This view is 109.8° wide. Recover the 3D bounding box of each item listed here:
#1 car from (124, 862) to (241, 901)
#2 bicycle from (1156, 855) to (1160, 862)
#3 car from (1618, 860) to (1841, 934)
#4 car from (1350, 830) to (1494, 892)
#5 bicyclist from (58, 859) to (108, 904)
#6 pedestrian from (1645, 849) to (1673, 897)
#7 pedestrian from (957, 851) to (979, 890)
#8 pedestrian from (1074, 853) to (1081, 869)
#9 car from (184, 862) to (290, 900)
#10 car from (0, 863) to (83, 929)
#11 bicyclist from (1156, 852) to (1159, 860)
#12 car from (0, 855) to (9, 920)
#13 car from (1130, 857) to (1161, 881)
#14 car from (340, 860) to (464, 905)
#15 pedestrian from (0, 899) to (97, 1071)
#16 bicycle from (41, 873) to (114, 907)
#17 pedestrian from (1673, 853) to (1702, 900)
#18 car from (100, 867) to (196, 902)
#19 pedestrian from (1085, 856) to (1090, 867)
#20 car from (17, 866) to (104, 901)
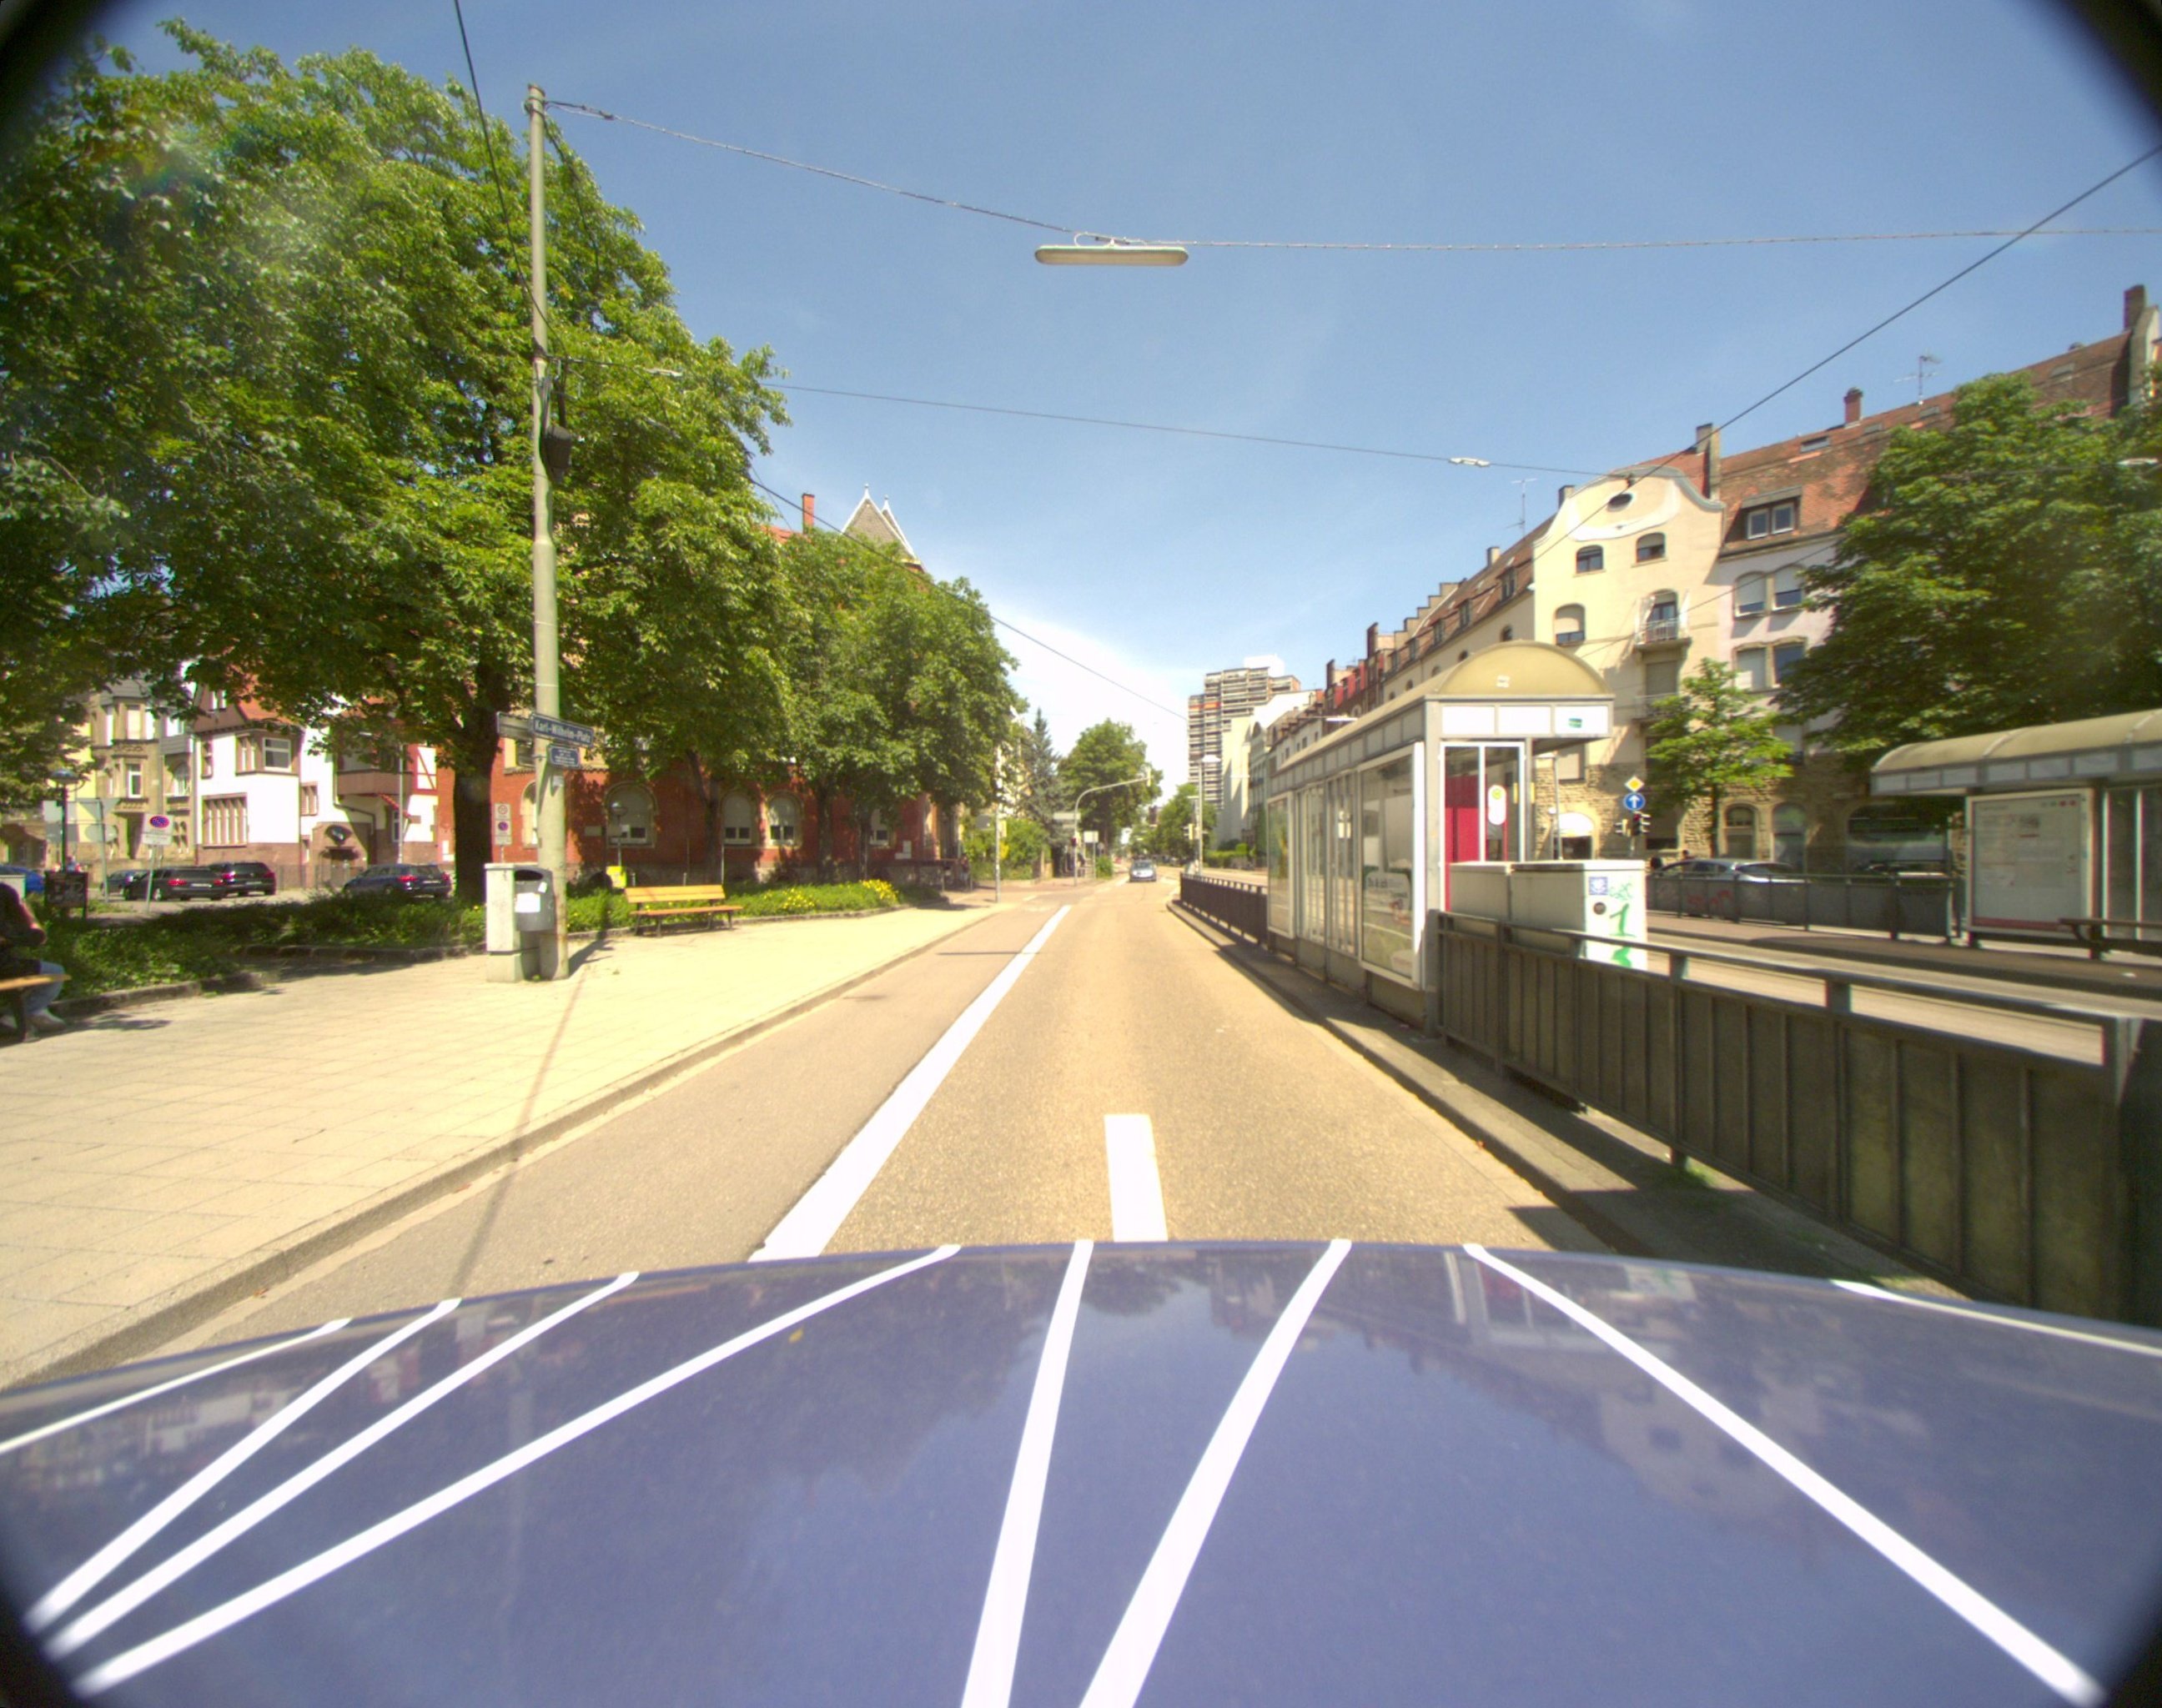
[{"bbox_3d":[-38.073,1.171,32.185,5.023,1.474,1.941,-2,1,26],"label":"car"},{"bbox_3d":[17.763,0.990,175.688,0.644,1.503,1.970,-2,1,-2],"label":"bicycle"},{"bbox_3d":[14.838,0.912,17.723,1.812,1.386,3.999,-2,1,1],"label":"car"},{"bbox_3d":[16.067,0.334,36.150,2.278,2.658,5.812,-3,1,-36],"label":"car"},{"bbox_3d":[-38.620,1.053,29.393,1.251,1.686,0.876,-2,1,26],"label":"bicyclist"},{"bbox_3d":[20.129,0.653,26.473,0.594,1.637,0.474,0,0,1],"label":"pedestrian"},{"bbox_3d":[-5.453,0.786,36.599,0.840,1.813,0.672,-1,1,-34],"label":"pedestrian"},{"bbox_3d":[-0.365,0.712,77.177,0.702,1.645,0.665,0,0,1],"label":"pedestrian"},{"bbox_3d":[-39.590,1.276,35.662,4.299,1.608,1.941,-2,1,23],"label":"car"},{"bbox_3d":[-32.844,1.302,22.023,1.934,1.869,4.315,-2,1,23],"label":"car"},{"bbox_3d":[17.735,0.509,175.671,0.644,1.864,0.716,-2,1,-2],"label":"bicyclist"},{"bbox_3d":[-37.660,1.201,23.791,1.934,2.178,4.315,-2,1,23],"label":"car"},{"bbox_3d":[4.313,0.992,50.836,1.895,1.372,4.001,-2,1,5],"label":"car"},{"bbox_3d":[-27.043,1.134,30.283,4.299,1.608,1.941,-2,1,23],"label":"car"},{"bbox_3d":[-7.743,0.913,5.414,0.566,1.136,0.725,0,1,-16],"label":"pedestrian"},{"bbox_3d":[-39.346,1.421,29.775,3.736,1.256,0.956,-2,1,25],"label":"bicycle"},{"bbox_3d":[20.287,0.756,25.422,0.594,1.542,0.474,0,0,-1],"label":"pedestrian"},{"bbox_3d":[-48.423,1.572,39.430,4.299,1.608,1.941,-2,1,23],"label":"car"},{"bbox_3d":[0.987,1.124,121.903,0.686,1.732,0.660,-2,1,3],"label":"pedestrian"},{"bbox_3d":[-59.178,1.710,44.075,4.299,1.862,1.941,-2,1,23],"label":"car"}]
